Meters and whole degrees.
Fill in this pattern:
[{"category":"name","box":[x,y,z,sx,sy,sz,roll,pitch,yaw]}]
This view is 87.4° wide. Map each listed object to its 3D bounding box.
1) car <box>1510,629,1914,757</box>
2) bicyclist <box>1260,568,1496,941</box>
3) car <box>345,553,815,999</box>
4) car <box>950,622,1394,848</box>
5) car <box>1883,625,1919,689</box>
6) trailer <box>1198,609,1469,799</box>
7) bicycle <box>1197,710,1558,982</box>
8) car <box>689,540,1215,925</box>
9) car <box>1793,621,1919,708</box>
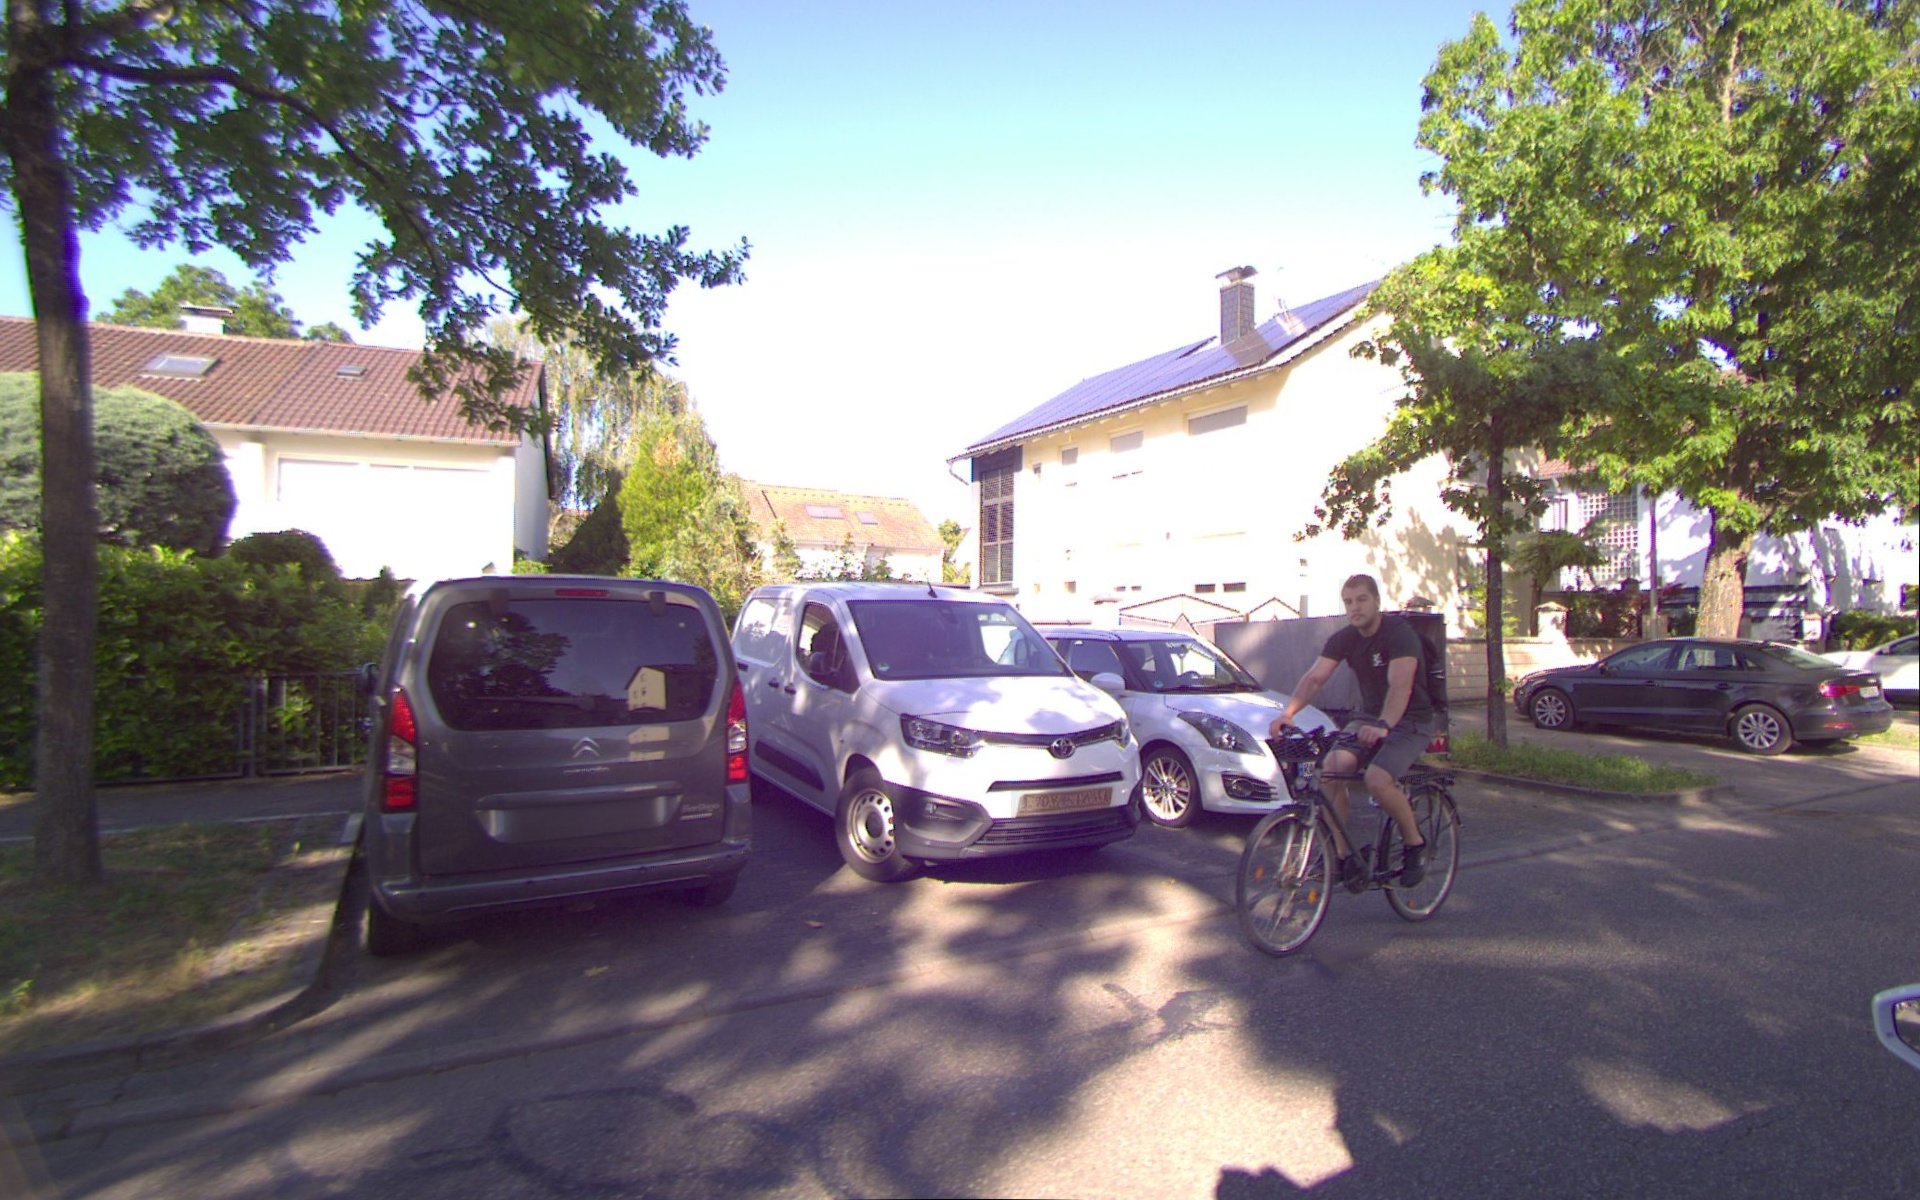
[{"category":"car","box":[10.179,1.165,13.975,1.671,1.491,4.190,1,-2,-31]},{"category":"bicyclist","box":[2.113,0.726,5.093,0.964,1.695,0.593,1,-4,-30]},{"category":"car","box":[-2.692,0.715,6.351,1.946,1.793,4.214,1,0,-33]},{"category":"car","box":[1.650,0.986,9.101,1.672,1.536,3.965,1,-1,-32]},{"category":"car","box":[23.356,1.361,22.201,1.790,1.442,4.011,1,1,-32]},{"category":"trailer","box":[3.740,0.956,10.306,1.455,1.696,2.228,0,-1,-26]},{"category":"bicycle","box":[2.151,1.141,5.091,1.962,1.072,0.594,1,-4,-30]},{"category":"car","box":[-0.374,0.758,7.486,1.979,1.969,4.212,2,-2,-33]},{"category":"car","box":[18.918,1.251,19.281,1.770,1.588,4.169,1,0,-29]}]
